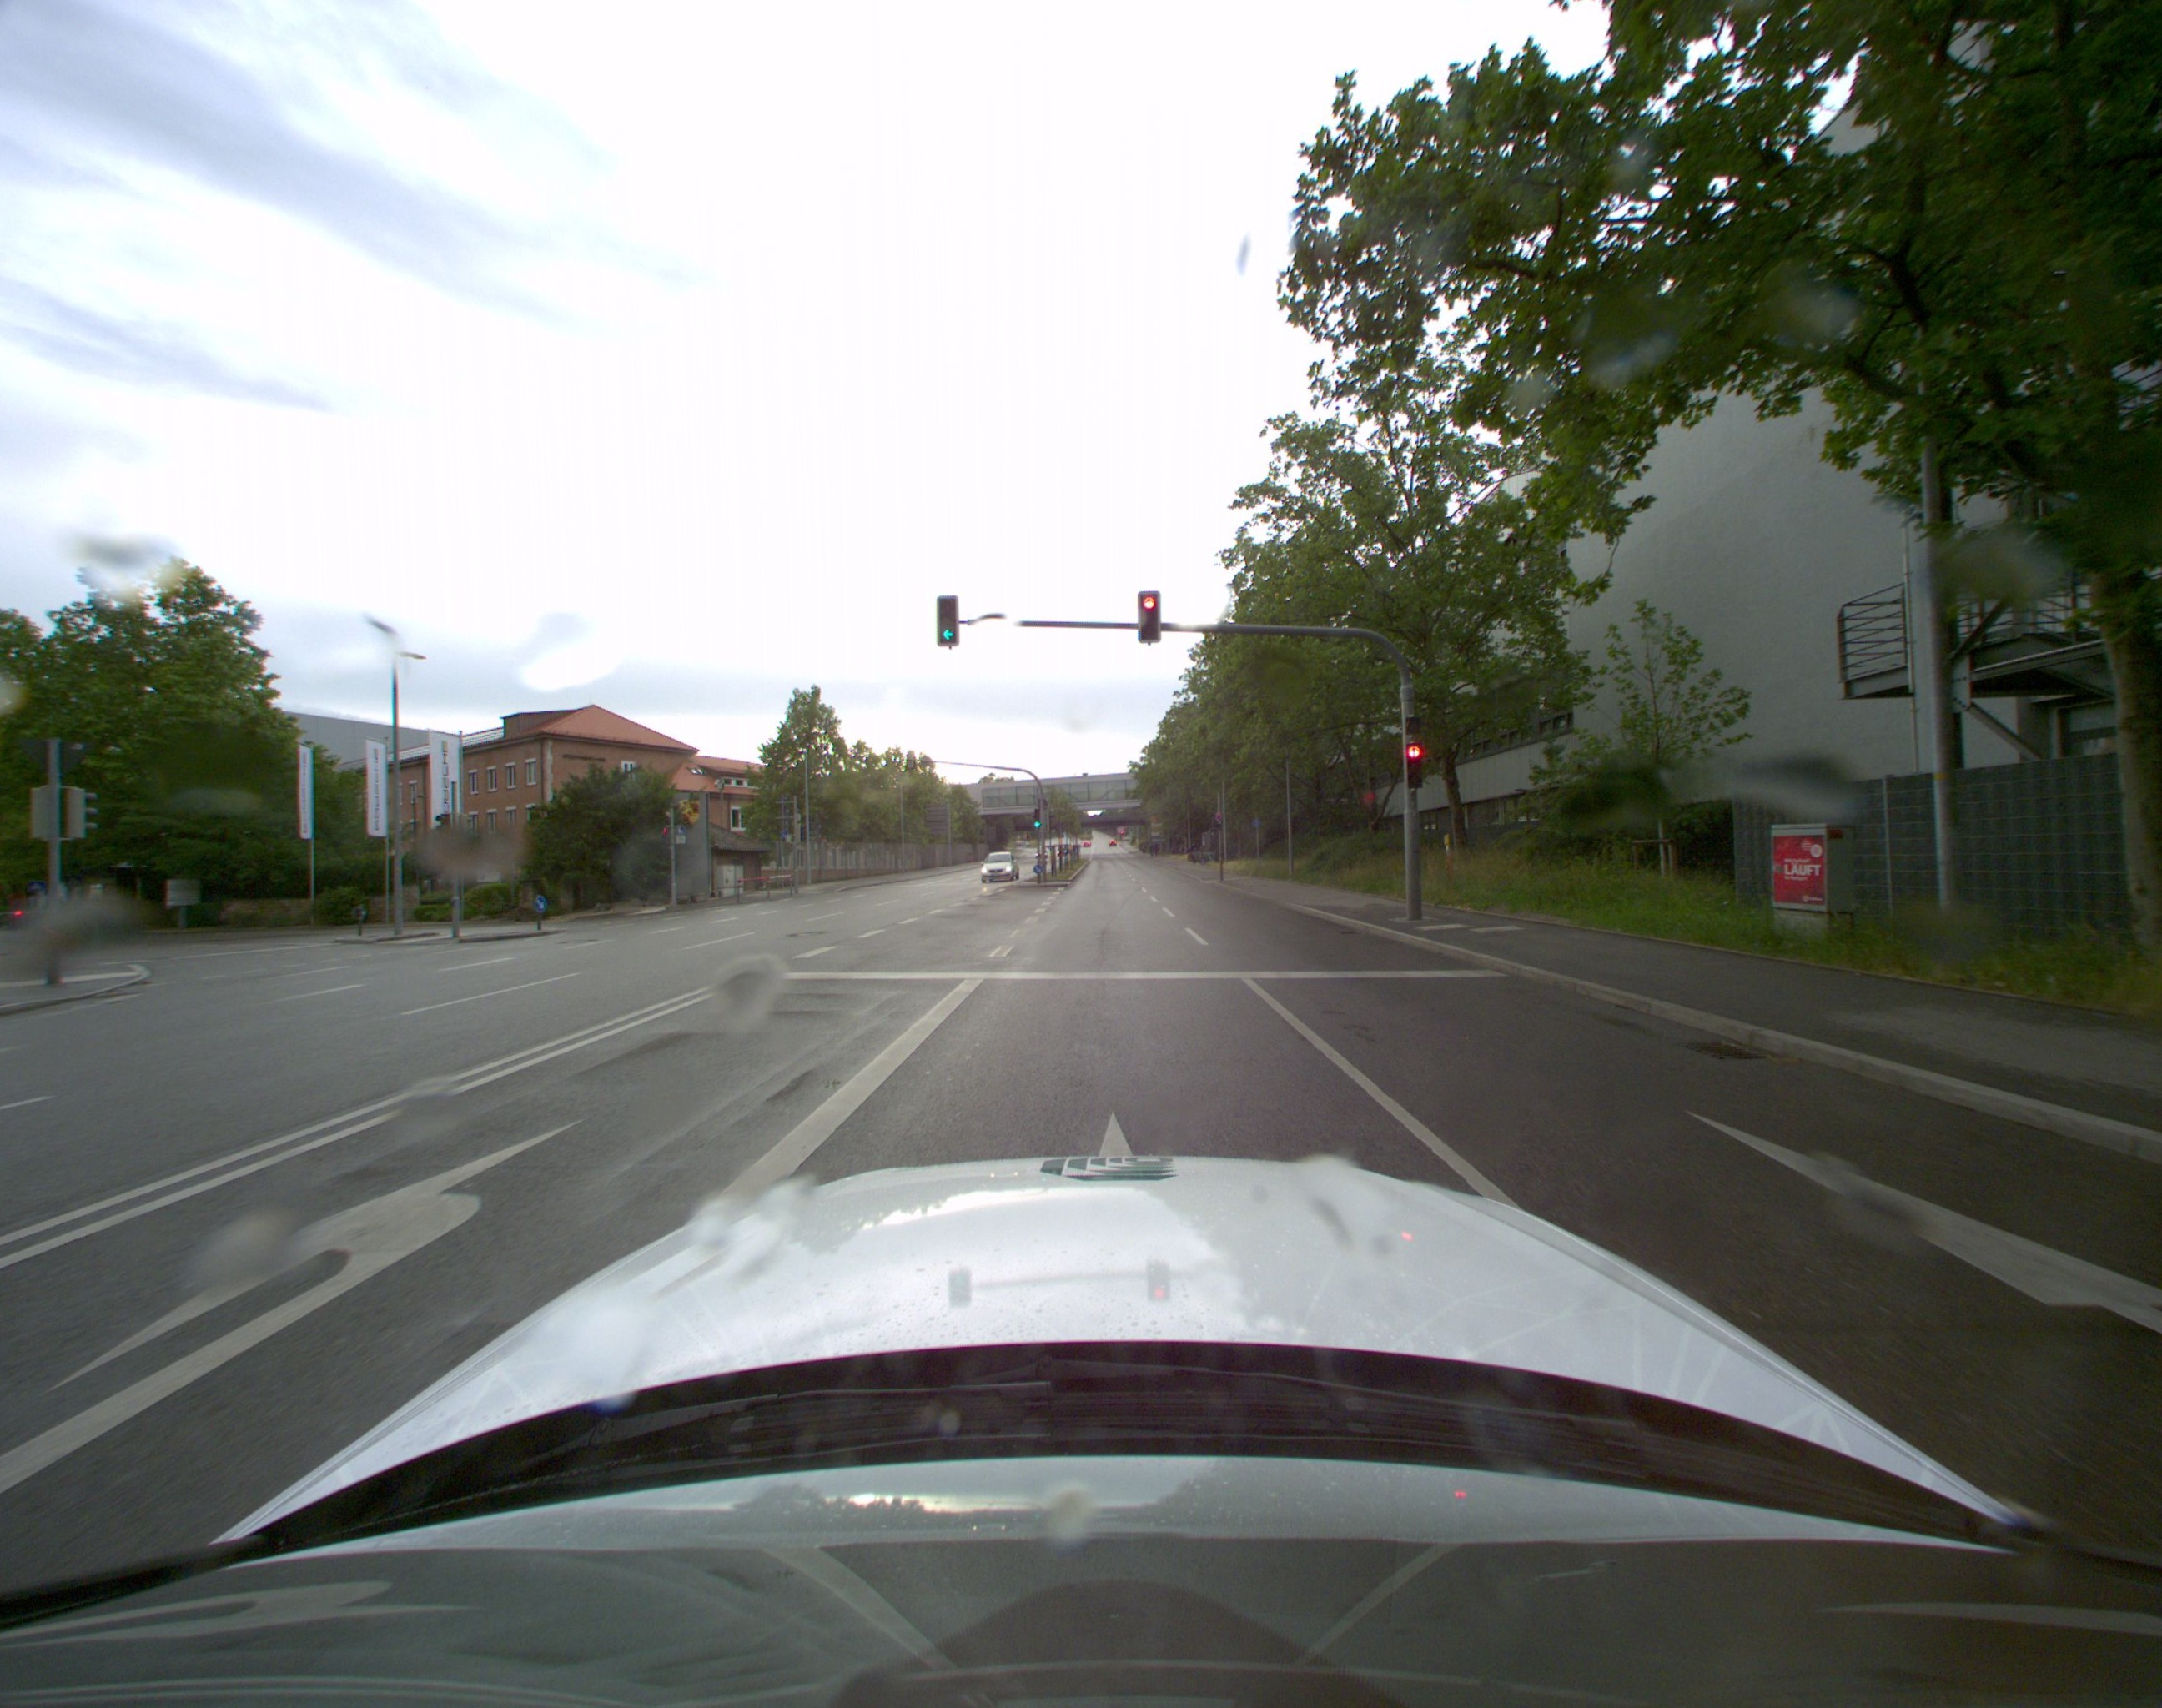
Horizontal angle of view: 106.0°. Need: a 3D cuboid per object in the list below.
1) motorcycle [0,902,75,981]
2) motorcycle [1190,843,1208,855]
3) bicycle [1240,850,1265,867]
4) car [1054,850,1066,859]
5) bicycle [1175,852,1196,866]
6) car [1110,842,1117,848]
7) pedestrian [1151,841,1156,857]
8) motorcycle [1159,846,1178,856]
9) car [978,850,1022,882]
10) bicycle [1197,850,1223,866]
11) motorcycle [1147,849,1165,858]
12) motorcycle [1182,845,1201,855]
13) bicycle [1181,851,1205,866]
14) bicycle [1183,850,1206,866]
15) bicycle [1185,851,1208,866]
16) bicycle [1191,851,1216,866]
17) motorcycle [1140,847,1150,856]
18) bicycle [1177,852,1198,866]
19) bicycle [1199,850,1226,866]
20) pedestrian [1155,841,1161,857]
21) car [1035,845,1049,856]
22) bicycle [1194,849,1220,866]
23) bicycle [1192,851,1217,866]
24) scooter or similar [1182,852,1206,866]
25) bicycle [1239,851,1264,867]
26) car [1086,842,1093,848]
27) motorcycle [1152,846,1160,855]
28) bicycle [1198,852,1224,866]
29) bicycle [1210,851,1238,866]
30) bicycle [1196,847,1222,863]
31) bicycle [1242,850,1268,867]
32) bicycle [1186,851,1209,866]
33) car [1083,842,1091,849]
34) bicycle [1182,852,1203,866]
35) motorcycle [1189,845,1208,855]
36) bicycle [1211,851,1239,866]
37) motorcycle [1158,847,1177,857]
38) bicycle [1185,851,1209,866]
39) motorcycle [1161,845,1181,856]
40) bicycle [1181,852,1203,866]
[{"bbox_3d":[-20.223,1.632,15.105,1.030,1.337,2.748,-3,0,-31],"label":"motorcycle"},{"bbox_3d":[16.426,-0.659,112.982,2.354,1.476,0.724,-3,0,9],"label":"motorcycle"},{"bbox_3d":[14.294,0.378,67.925,1.982,1.328,0.576,0,-1,2],"label":"bicycle"},{"bbox_3d":[-3.662,0.099,144.077,1.870,1.624,3.781,-2,0,2],"label":"car"},{"bbox_3d":[10.313,0.524,80.436,1.955,1.328,0.654,0,-1,2],"label":"bicycle"},{"bbox_3d":[8.293,-2.383,209.251,1.868,1.497,4.070,0,-1,2],"label":"car"},{"bbox_3d":[9.510,-0.666,106.766,0.619,2.013,0.606,-3,0,2],"label":"pedestrian"},{"bbox_3d":[11.109,-0.357,103.616,2.354,1.202,0.724,-3,0,9],"label":"motorcycle"},{"bbox_3d":[-4.522,0.632,45.802,1.870,1.624,3.781,-2,0,2],"label":"car"},{"bbox_3d":[10.154,0.332,64.128,1.982,1.233,0.541,0,-1,2],"label":"bicycle"},{"bbox_3d":[10.361,-0.073,111.858,2.354,1.202,0.724,-3,0,9],"label":"motorcycle"},{"bbox_3d":[14.283,-0.480,105.073,2.354,1.202,0.724,-3,0,9],"label":"motorcycle"},{"bbox_3d":[9.887,0.409,71.950,1.982,1.328,0.576,0,-1,2],"label":"bicycle"},{"bbox_3d":[10.221,0.373,73.620,1.982,1.430,0.723,0,-1,2],"label":"bicycle"},{"bbox_3d":[10.554,0.438,74.464,1.982,1.328,0.576,0,-1,2],"label":"bicycle"},{"bbox_3d":[10.211,0.382,67.848,1.982,1.242,0.541,0,-1,2],"label":"bicycle"},{"bbox_3d":[10.342,-0.411,131.538,0.792,1.311,2.363,-3,0,-16],"label":"motorcycle"},{"bbox_3d":[10.325,0.499,78.715,1.955,1.328,0.654,0,-1,2],"label":"bicycle"},{"bbox_3d":[10.005,0.307,61.942,1.982,1.216,0.541,0,-1,2],"label":"bicycle"},{"bbox_3d":[10.011,-0.681,106.158,0.619,2.013,0.606,-3,0,2],"label":"pedestrian"},{"bbox_3d":[-6.221,-0.522,130.557,1.870,1.624,3.781,-2,0,2],"label":"car"},{"bbox_3d":[10.247,0.292,66.206,1.982,1.340,0.541,0,-1,2],"label":"bicycle"},{"bbox_3d":[10.179,0.368,66.900,1.982,1.242,0.541,0,-1,2],"label":"bicycle"},{"bbox_3d":[9.688,0.448,70.052,1.982,1.138,0.541,0,-1,2],"label":"scooter or similar"},{"bbox_3d":[14.317,0.387,68.541,1.982,1.328,0.576,0,-1,2],"label":"bicycle"},{"bbox_3d":[2.288,-2.422,219.789,1.877,1.762,3.971,0,-1,2],"label":"car"},{"bbox_3d":[11.685,-0.545,126.508,0.789,1.311,2.371,-3,0,-6],"label":"motorcycle"},{"bbox_3d":[10.115,0.383,63.546,1.982,1.094,0.541,0,-1,2],"label":"bicycle"},{"bbox_3d":[10.629,0.350,60.462,1.982,1.094,0.541,0,-1,2],"label":"bicycle"},{"bbox_3d":[10.211,0.110,64.845,1.982,1.242,0.541,0,-1,2],"label":"bicycle"},{"bbox_3d":[14.041,0.345,65.789,1.982,1.328,0.576,0,-1,2],"label":"bicycle"},{"bbox_3d":[10.179,0.399,71.132,1.982,1.328,0.576,0,-1,2],"label":"bicycle"},{"bbox_3d":[1.605,-2.261,213.127,1.986,1.762,4.002,0,-1,2],"label":"car"},{"bbox_3d":[10.442,0.466,76.417,1.952,1.328,0.576,0,-1,2],"label":"bicycle"},{"bbox_3d":[15.508,-0.535,107.232,2.354,1.202,0.724,-3,0,9],"label":"motorcycle"},{"bbox_3d":[10.607,0.342,59.893,1.982,1.094,0.541,0,-1,2],"label":"bicycle"},{"bbox_3d":[11.401,-0.235,107.608,2.354,1.202,0.724,-3,0,9],"label":"motorcycle"},{"bbox_3d":[9.867,0.400,69.234,1.982,1.242,0.541,0,-1,2],"label":"bicycle"},{"bbox_3d":[11.123,-0.411,100.978,2.354,1.202,0.724,-3,0,9],"label":"motorcycle"},{"bbox_3d":[10.255,0.459,75.184,1.982,1.328,0.576,0,-1,2],"label":"bicycle"}]
